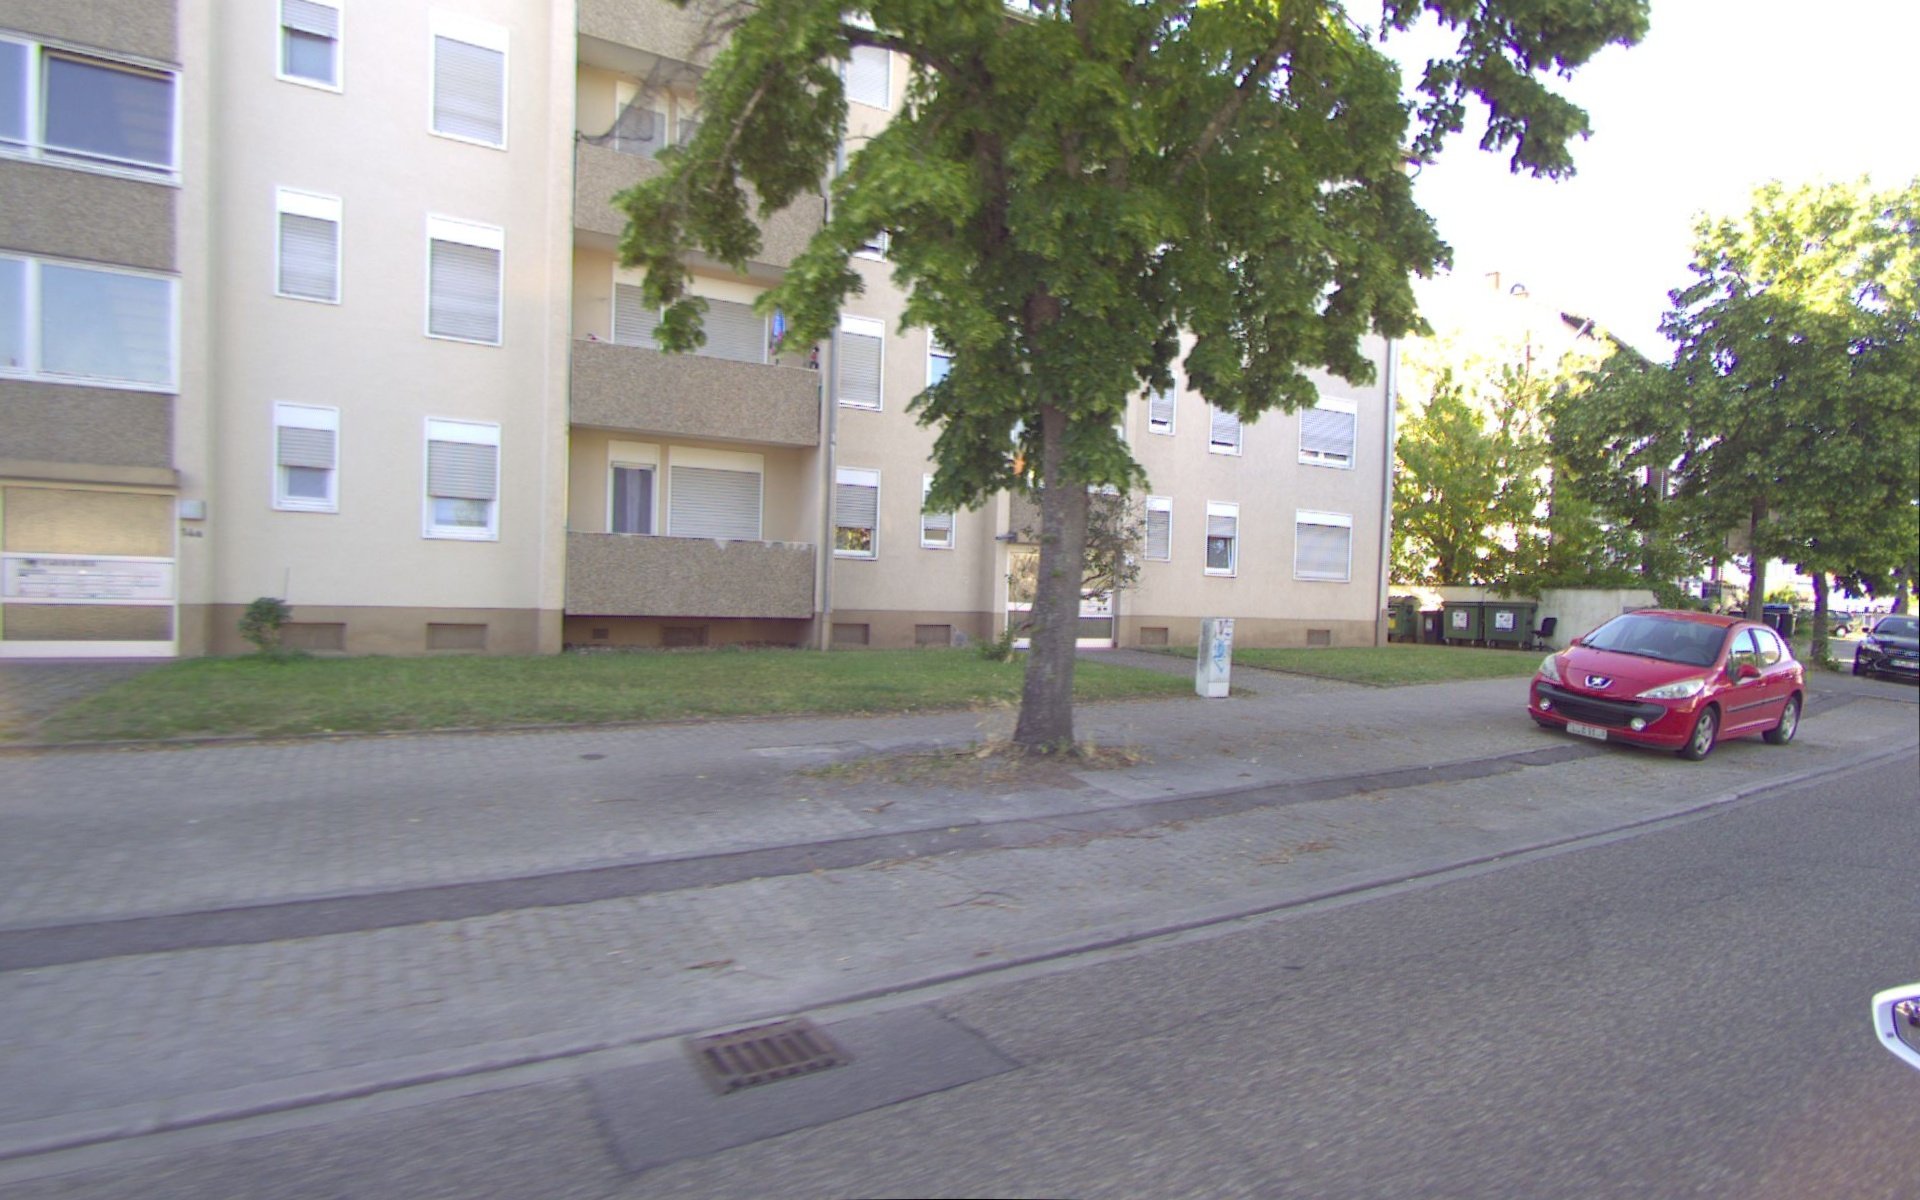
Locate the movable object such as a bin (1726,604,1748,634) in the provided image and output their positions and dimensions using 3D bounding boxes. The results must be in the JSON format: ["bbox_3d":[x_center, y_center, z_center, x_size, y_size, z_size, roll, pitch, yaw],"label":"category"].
[{"bbox_3d":[34.394,0.818,44.454,0.666,1.296,0.633,0,2,-40],"label":"movable object such as a bin"}]

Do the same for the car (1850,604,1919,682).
[{"bbox_3d":[21.780,0.965,22.966,4.513,1.514,1.704,1,7,-45],"label":"car"}]

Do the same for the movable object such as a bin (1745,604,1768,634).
[{"bbox_3d":[34.856,0.829,43.941,0.666,1.296,0.633,0,2,-40],"label":"movable object such as a bin"}]

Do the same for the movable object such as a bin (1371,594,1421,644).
[{"bbox_3d":[13.582,0.564,31.331,0.945,1.452,1.113,-3,4,-34],"label":"movable object such as a bin"}]

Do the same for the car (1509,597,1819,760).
[{"bbox_3d":[8.387,0.815,11.885,3.868,1.514,1.646,1,5,-34],"label":"car"}]

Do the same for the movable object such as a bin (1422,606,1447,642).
[{"bbox_3d":[14.329,0.718,30.337,0.480,1.028,0.504,-3,4,-35],"label":"movable object such as a bin"}]

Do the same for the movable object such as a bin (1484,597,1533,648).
[{"bbox_3d":[15.432,0.623,28.268,0.561,1.334,1.082,-3,4,-34],"label":"movable object such as a bin"}]

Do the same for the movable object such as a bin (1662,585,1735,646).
[{"bbox_3d":[21.310,0.433,28.994,1.257,1.685,1.400,0,2,-41],"label":"movable object such as a bin"}]

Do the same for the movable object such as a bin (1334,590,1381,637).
[{"bbox_3d":[13.032,0.416,32.926,0.929,1.452,1.113,-3,4,-34],"label":"movable object such as a bin"}]

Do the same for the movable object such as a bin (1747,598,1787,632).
[{"bbox_3d":[36.986,0.676,46.041,1.107,1.502,1.221,0,2,-40],"label":"movable object such as a bin"}]

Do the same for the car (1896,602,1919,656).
[{"bbox_3d":[30.955,0.987,31.566,3.878,1.614,1.707,1,6,-41],"label":"car"}]

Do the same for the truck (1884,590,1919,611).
[{"bbox_3d":[123.067,0.117,129.137,2.198,2.602,5.890,1,3,-31],"label":"truck"}]

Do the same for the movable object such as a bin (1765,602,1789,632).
[{"bbox_3d":[35.296,0.727,43.397,0.666,1.296,0.681,0,2,-40],"label":"movable object such as a bin"}]

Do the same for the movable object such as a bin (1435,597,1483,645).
[{"bbox_3d":[14.600,0.595,29.393,0.561,1.334,1.113,-3,4,-34],"label":"movable object such as a bin"}]

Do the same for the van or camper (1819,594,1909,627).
[{"bbox_3d":[72.204,0.828,80.302,2.217,2.351,4.869,2,1,-30],"label":"van or camper"}]
